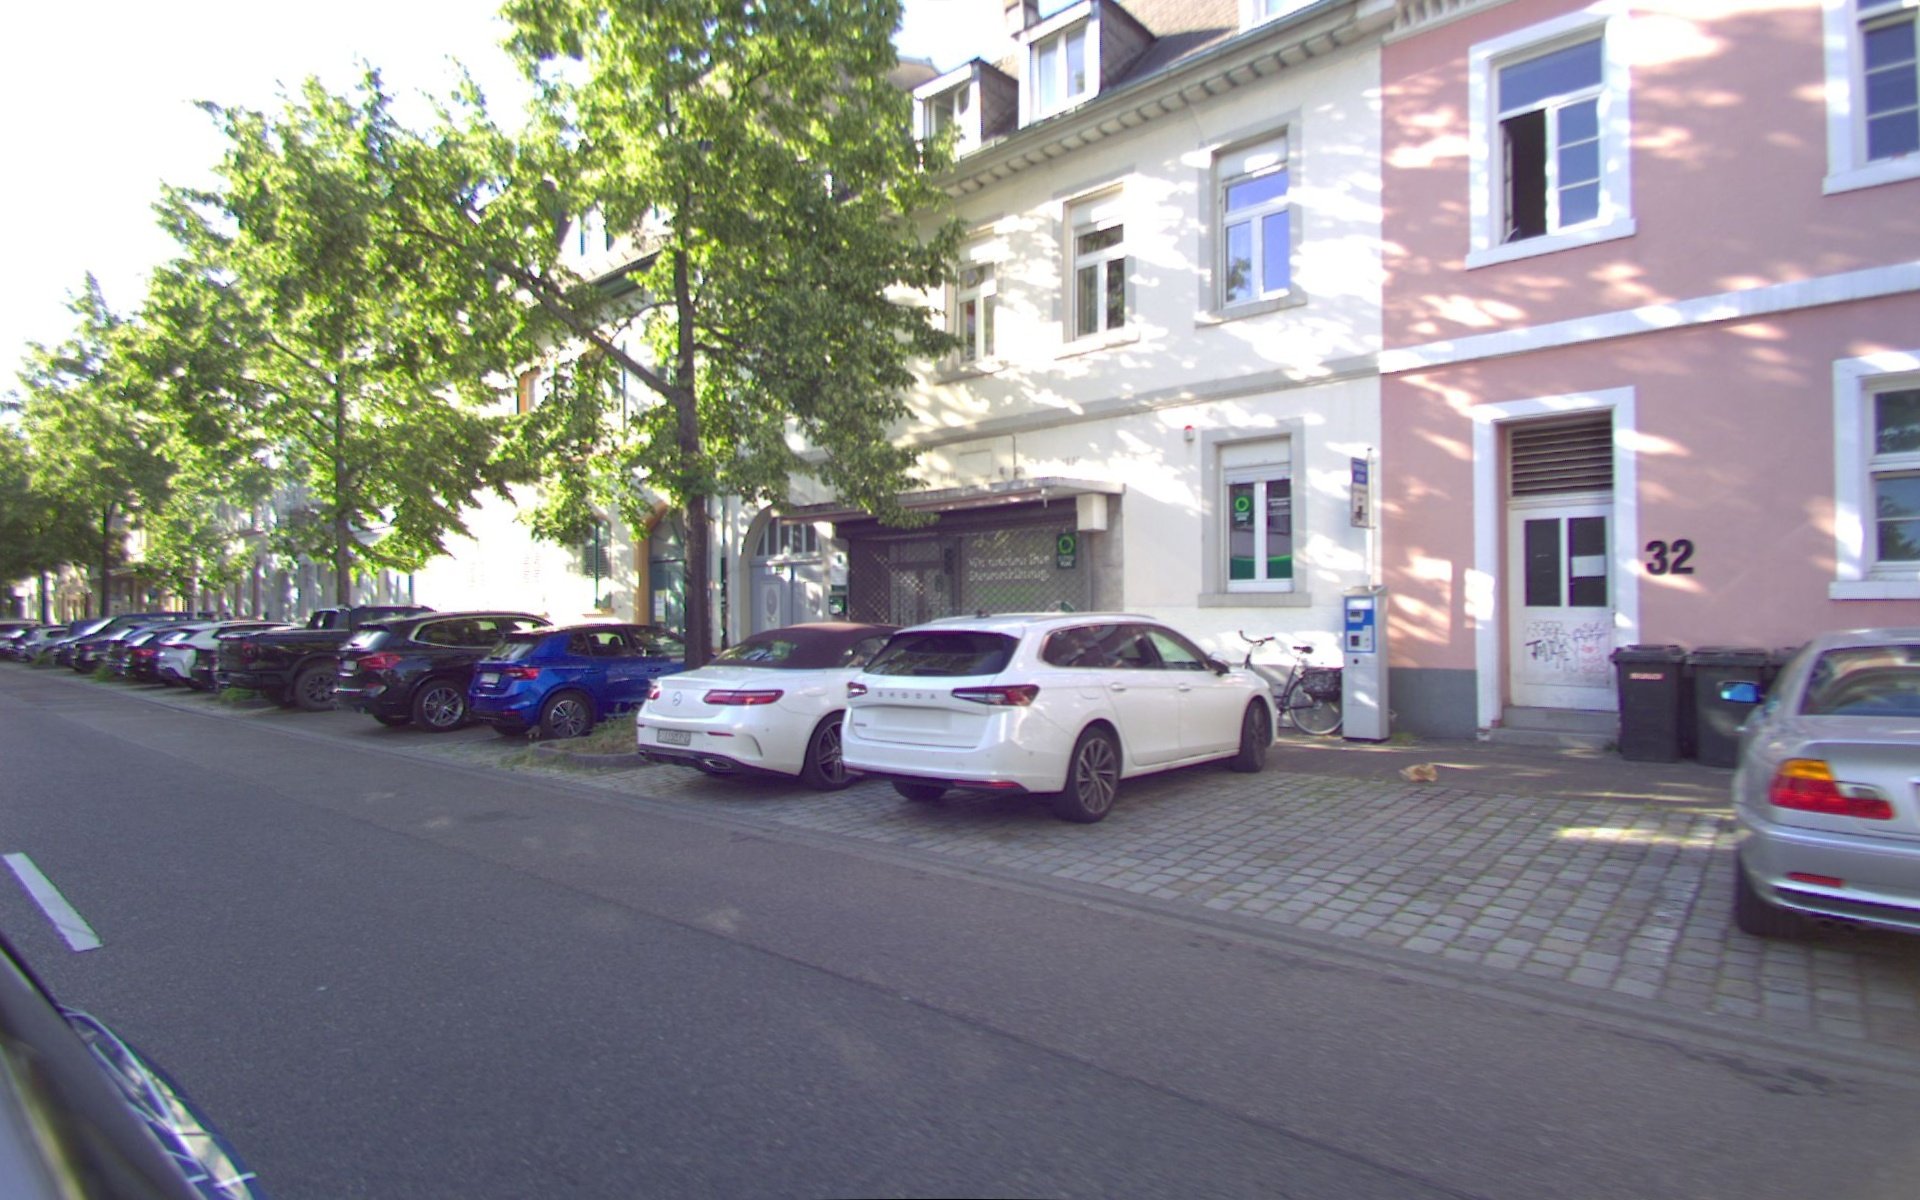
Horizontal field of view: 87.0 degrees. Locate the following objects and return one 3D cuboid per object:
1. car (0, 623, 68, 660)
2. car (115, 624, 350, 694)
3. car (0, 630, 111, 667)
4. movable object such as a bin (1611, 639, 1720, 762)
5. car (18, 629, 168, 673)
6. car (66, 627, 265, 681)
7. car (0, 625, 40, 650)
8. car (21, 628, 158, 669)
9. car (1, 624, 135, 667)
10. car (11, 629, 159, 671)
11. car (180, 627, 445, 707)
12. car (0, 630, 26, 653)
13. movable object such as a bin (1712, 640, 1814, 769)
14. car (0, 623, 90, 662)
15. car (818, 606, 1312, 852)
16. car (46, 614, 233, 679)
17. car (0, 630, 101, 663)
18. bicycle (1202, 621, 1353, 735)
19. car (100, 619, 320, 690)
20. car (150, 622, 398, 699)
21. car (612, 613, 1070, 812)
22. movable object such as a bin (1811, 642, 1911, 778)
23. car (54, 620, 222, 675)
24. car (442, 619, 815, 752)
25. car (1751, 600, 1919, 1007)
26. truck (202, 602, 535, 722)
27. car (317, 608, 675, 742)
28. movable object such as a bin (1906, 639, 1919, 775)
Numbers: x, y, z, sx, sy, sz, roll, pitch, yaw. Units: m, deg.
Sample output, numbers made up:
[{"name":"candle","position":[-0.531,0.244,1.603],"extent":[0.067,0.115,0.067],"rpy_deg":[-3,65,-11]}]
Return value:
[{"name":"car","position":[-51.531,2.266,54.973],"extent":[1.930,1.941,4.523],"rpy_deg":[-2,-1,43]},{"name":"car","position":[-18.484,1.436,25.883],"extent":[1.808,1.531,4.630],"rpy_deg":[-2,-1,42]},{"name":"car","position":[-41.744,2.194,46.210],"extent":[1.917,1.552,4.417],"rpy_deg":[-2,-1,43]},{"name":"movable object such as a bin","position":[6.511,0.896,9.342],"extent":[0.731,1.068,0.688],"rpy_deg":[-2,-3,42]},{"name":"car","position":[-34.287,1.961,40.100],"extent":[1.917,1.552,4.415],"rpy_deg":[-2,-1,45]},{"name":"car","position":[-24.395,1.609,31.218],"extent":[1.683,1.470,4.597],"rpy_deg":[-2,-1,41]},{"name":"car","position":[-62.703,2.454,65.524],"extent":[1.956,1.556,4.310],"rpy_deg":[-1,-1,30]},{"name":"car","position":[-37.579,2.037,43.777],"extent":[1.808,1.594,4.294],"rpy_deg":[-2,-1,41]},{"name":"car","position":[-39.509,1.961,44.896],"extent":[1.916,1.722,4.294],"rpy_deg":[-2,-1,41]},{"name":"car","position":[-36.149,2.006,41.881],"extent":[1.915,1.552,4.420],"rpy_deg":[-2,-1,40]},{"name":"car","position":[-14.129,1.383,22.292],"extent":[1.808,1.474,4.630],"rpy_deg":[-2,-1,42]},{"name":"car","position":[-68.029,2.964,70.062],"extent":[1.996,1.503,4.657],"rpy_deg":[0,1,36]},{"name":"movable object such as a bin","position":[7.042,0.885,8.875],"extent":[0.640,1.068,0.688],"rpy_deg":[-2,-3,42]},{"name":"car","position":[-47.511,2.166,51.804],"extent":[1.915,1.848,4.295],"rpy_deg":[-2,-1,40]},{"name":"car","position":[1.164,0.810,8.507],"extent":[1.807,1.476,4.632],"rpy_deg":[-2,-1,41]},{"name":"car","position":[-27.121,1.486,33.576],"extent":[1.916,1.965,4.630],"rpy_deg":[-2,-1,42]},{"name":"car","position":[-45.513,2.281,50.119],"extent":[1.915,1.450,4.296],"rpy_deg":[-2,-1,39]},{"name":"bicycle","position":[3.724,0.890,11.942],"extent":[1.627,1.255,0.499],"rpy_deg":[-2,-3,41]},{"name":"car","position":[-20.471,1.420,27.782],"extent":[1.808,1.725,4.630],"rpy_deg":[-2,-1,42]},{"name":"car","position":[-16.231,1.367,24.134],"extent":[1.808,1.584,4.630],"rpy_deg":[-2,-1,42]},{"name":"car","position":[-0.906,0.897,10.106],"extent":[1.806,1.476,4.635],"rpy_deg":[-2,-1,38]},{"name":"movable object such as a bin","position":[7.507,0.888,8.446],"extent":[0.574,1.068,0.688],"rpy_deg":[-2,-3,42]},{"name":"car","position":[-29.186,1.637,36.030],"extent":[1.916,1.785,4.418],"rpy_deg":[-2,-1,43]},{"name":"car","position":[-4.389,1.032,14.018],"extent":[1.808,1.474,4.630],"rpy_deg":[-2,-1,42]},{"name":"car","position":[5.149,0.711,5.096],"extent":[1.806,1.423,4.635],"rpy_deg":[-2,-1,38]},{"name":"truck","position":[-10.928,1.082,19.053],"extent":[1.999,1.953,5.032],"rpy_deg":[-2,-2,40]},{"name":"car","position":[-6.882,0.995,15.418],"extent":[1.808,1.706,4.630],"rpy_deg":[-2,-1,42]},{"name":"movable object such as a bin","position":[7.946,0.848,8.072],"extent":[0.544,1.068,0.625],"rpy_deg":[-2,-3,42]}]
